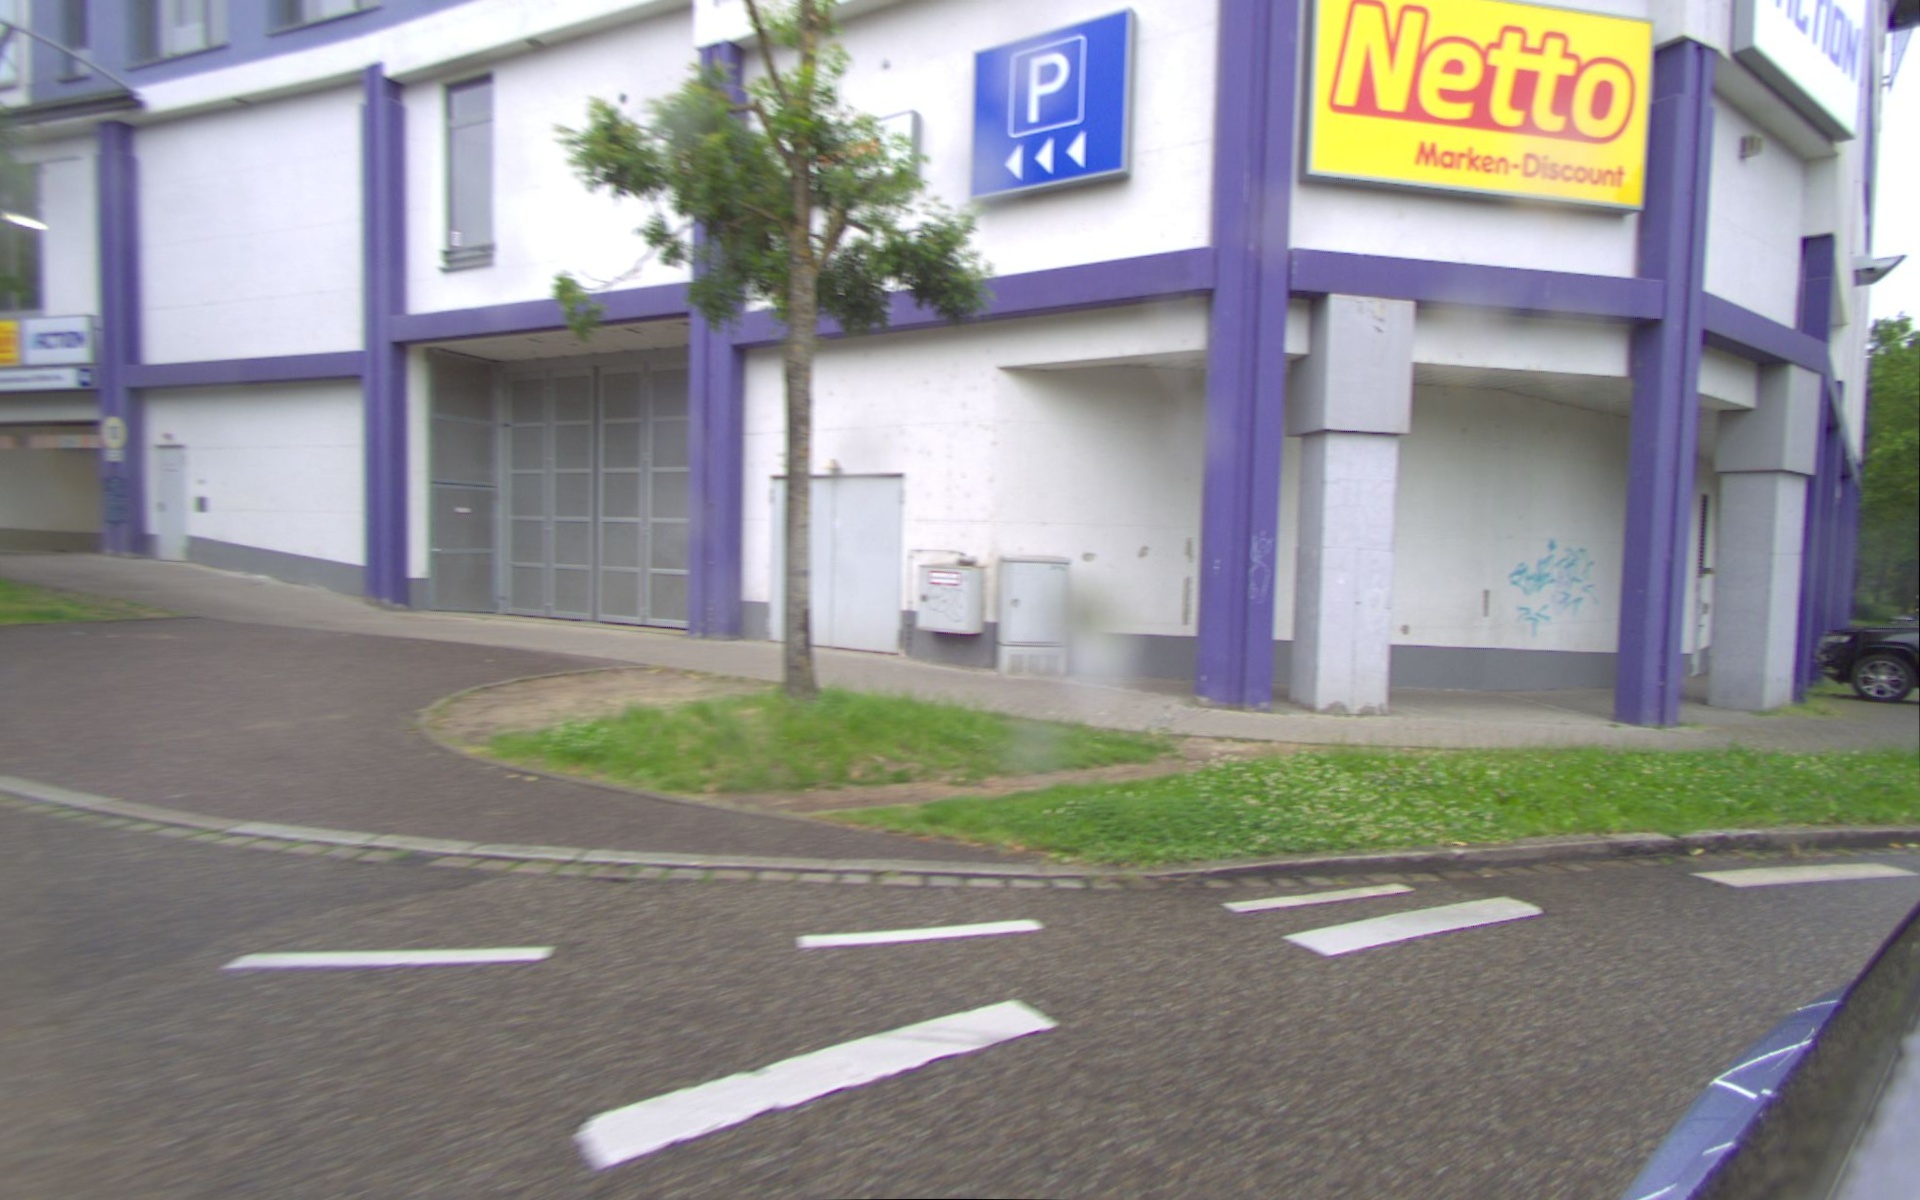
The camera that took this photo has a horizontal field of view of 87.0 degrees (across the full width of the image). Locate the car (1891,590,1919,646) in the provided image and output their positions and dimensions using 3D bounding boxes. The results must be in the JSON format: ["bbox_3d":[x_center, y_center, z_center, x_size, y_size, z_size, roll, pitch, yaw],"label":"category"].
[{"bbox_3d":[27.794,0.607,27.233,3.940,1.470,1.694,6,5,43],"label":"car"}]

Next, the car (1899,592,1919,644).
[{"bbox_3d":[33.539,0.738,32.685,4.463,1.700,1.743,5,3,38],"label":"car"}]

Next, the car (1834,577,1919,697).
[{"bbox_3d":[16.143,0.672,15.265,4.377,1.781,1.801,4,1,42],"label":"car"}]
